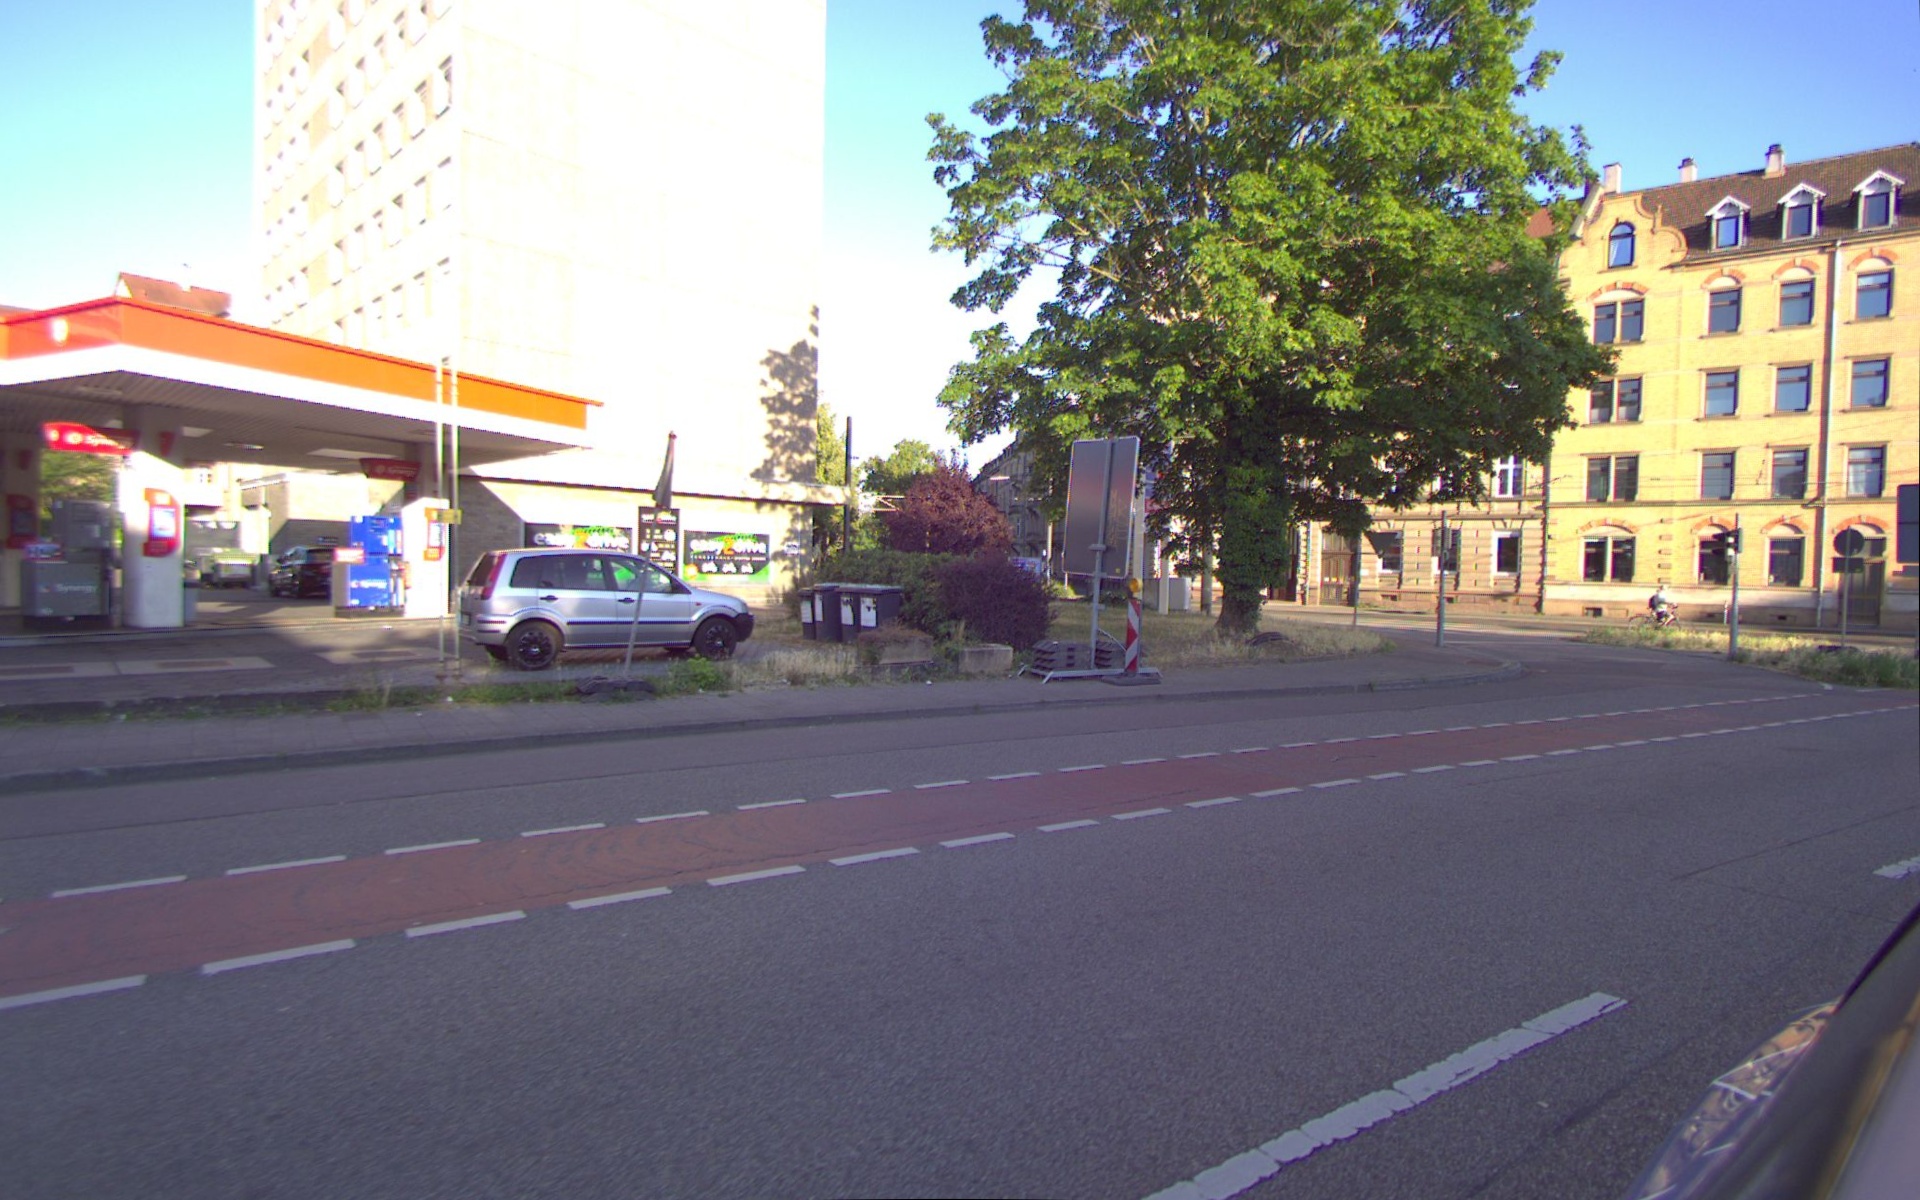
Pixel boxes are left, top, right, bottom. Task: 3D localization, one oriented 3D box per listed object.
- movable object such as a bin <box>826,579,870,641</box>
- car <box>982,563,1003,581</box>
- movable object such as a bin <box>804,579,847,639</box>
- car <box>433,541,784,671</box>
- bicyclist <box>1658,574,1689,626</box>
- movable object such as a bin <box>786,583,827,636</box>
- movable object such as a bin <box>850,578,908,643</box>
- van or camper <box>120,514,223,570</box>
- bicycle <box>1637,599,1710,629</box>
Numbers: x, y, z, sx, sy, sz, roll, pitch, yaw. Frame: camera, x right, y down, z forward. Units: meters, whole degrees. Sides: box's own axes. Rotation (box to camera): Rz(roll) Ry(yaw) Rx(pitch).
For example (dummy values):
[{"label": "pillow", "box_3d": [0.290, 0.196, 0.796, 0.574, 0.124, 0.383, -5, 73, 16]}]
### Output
[{"label": "movable object such as a bin", "box_3d": [-1.869, 0.153, 16.896, 0.540, 1.018, 0.541, 0, 0, -35]}, {"label": "car", "box_3d": [3.192, -2.728, 98.995, 1.791, 1.638, 3.996, 2, 2, 5]}, {"label": "movable object such as a bin", "box_3d": [-2.319, 0.144, 17.421, 0.540, 1.018, 0.541, 0, 0, -35]}, {"label": "car", "box_3d": [-4.779, 0.028, 14.051, 4.272, 1.549, 1.777, 0, 2, -38]}, {"label": "bicyclist", "box_3d": [22.379, -0.007, 31.747, 0.693, 1.603, 0.628, 2, 2, 40]}, {"label": "movable object such as a bin", "box_3d": [-2.720, 0.159, 17.956, 0.540, 0.917, 0.541, 0, 1, -35]}, {"label": "movable object such as a bin", "box_3d": [-1.307, 0.163, 16.328, 0.705, 1.018, 0.654, 0, 1, -39]}, {"label": "van or camper", "box_3d": [-46.429, -3.372, 59.629, 1.993, 3.091, 4.564, 3, 2, 42]}, {"label": "bicycle", "box_3d": [22.392, 0.418, 31.765, 1.807, 0.839, 0.613, 3, 2, 40]}]
